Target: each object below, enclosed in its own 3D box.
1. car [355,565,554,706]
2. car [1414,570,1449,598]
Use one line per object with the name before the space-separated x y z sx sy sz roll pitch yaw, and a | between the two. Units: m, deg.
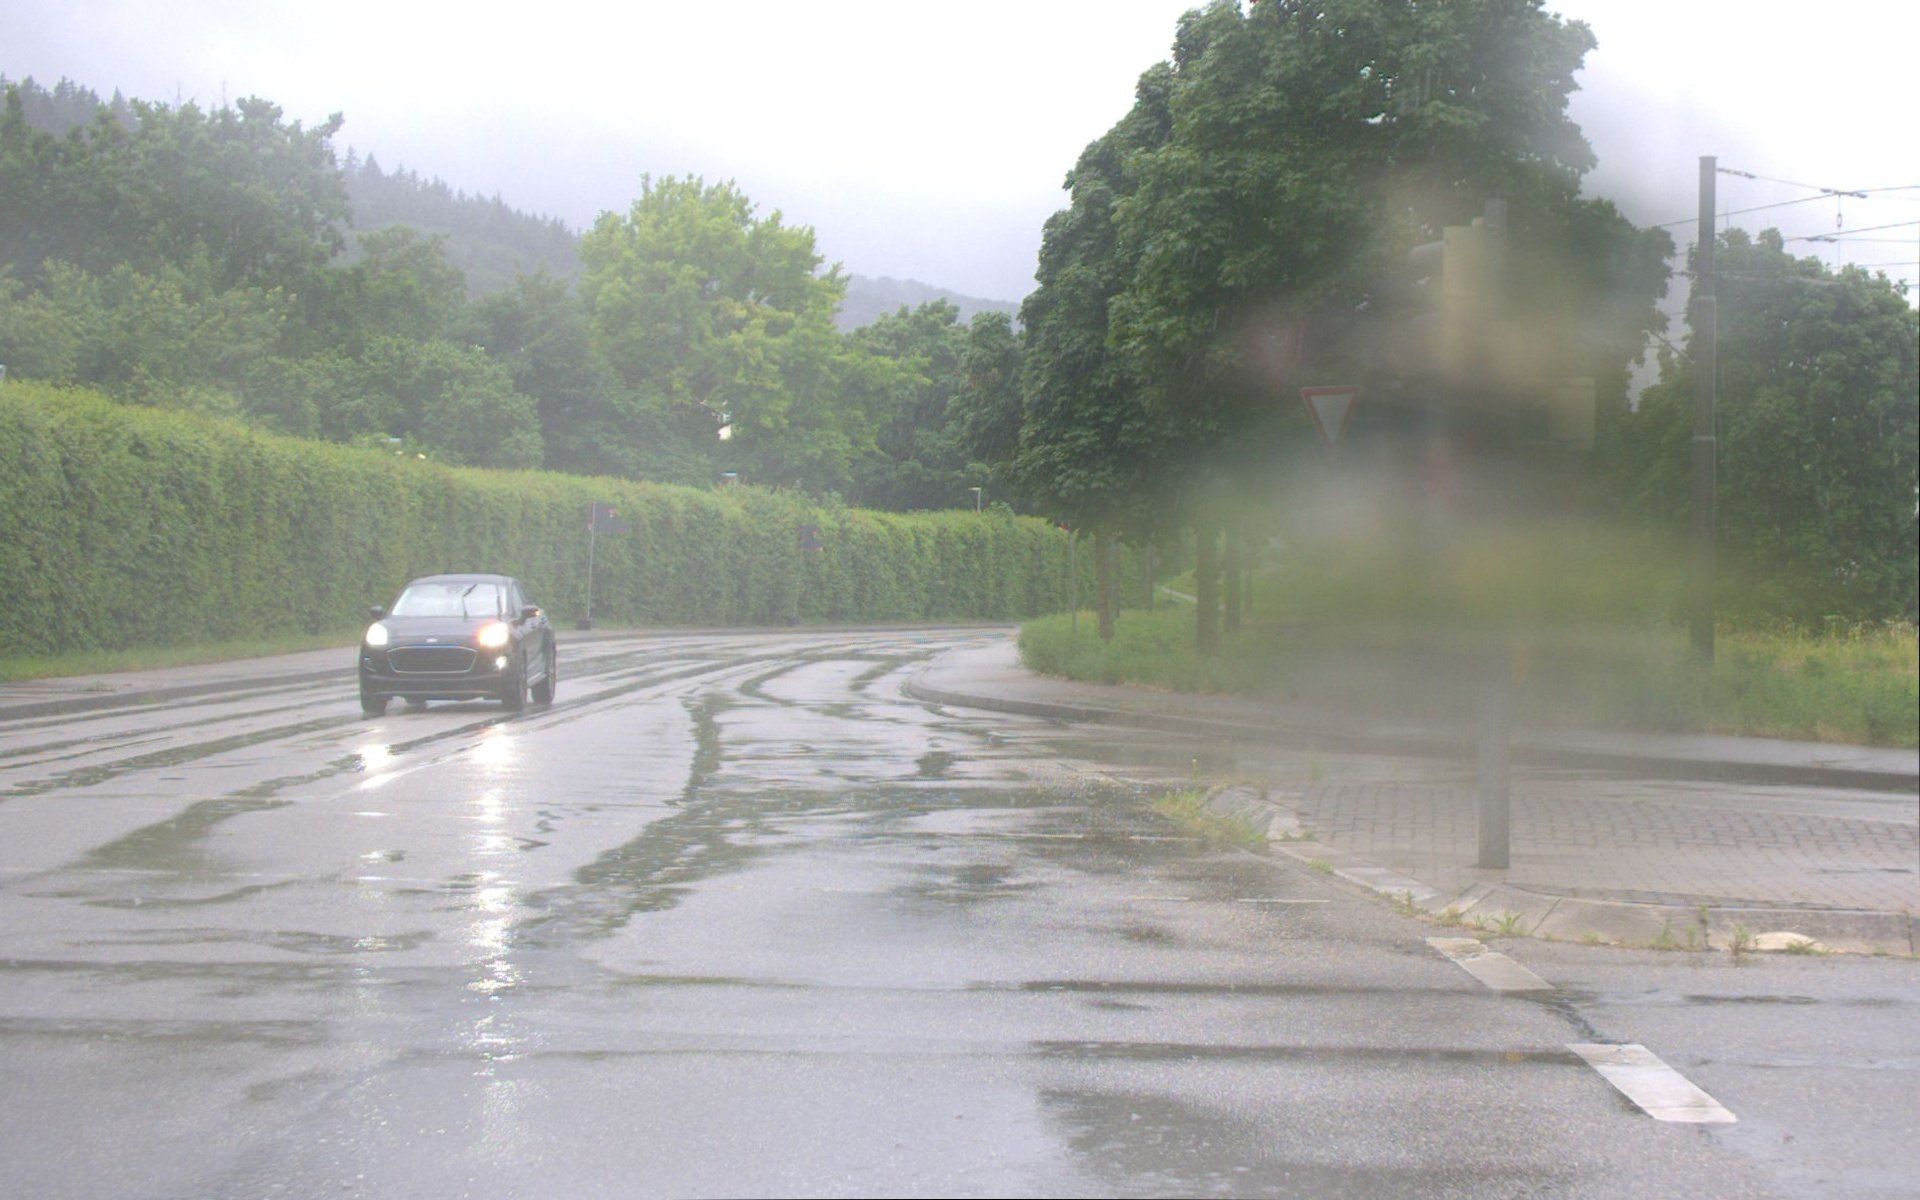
car | -5.725 0.365 39.322 1.785 1.499 4.061 0 1 -2
car | 32.758 -1.127 238.823 1.954 1.897 4.117 0 1 14
